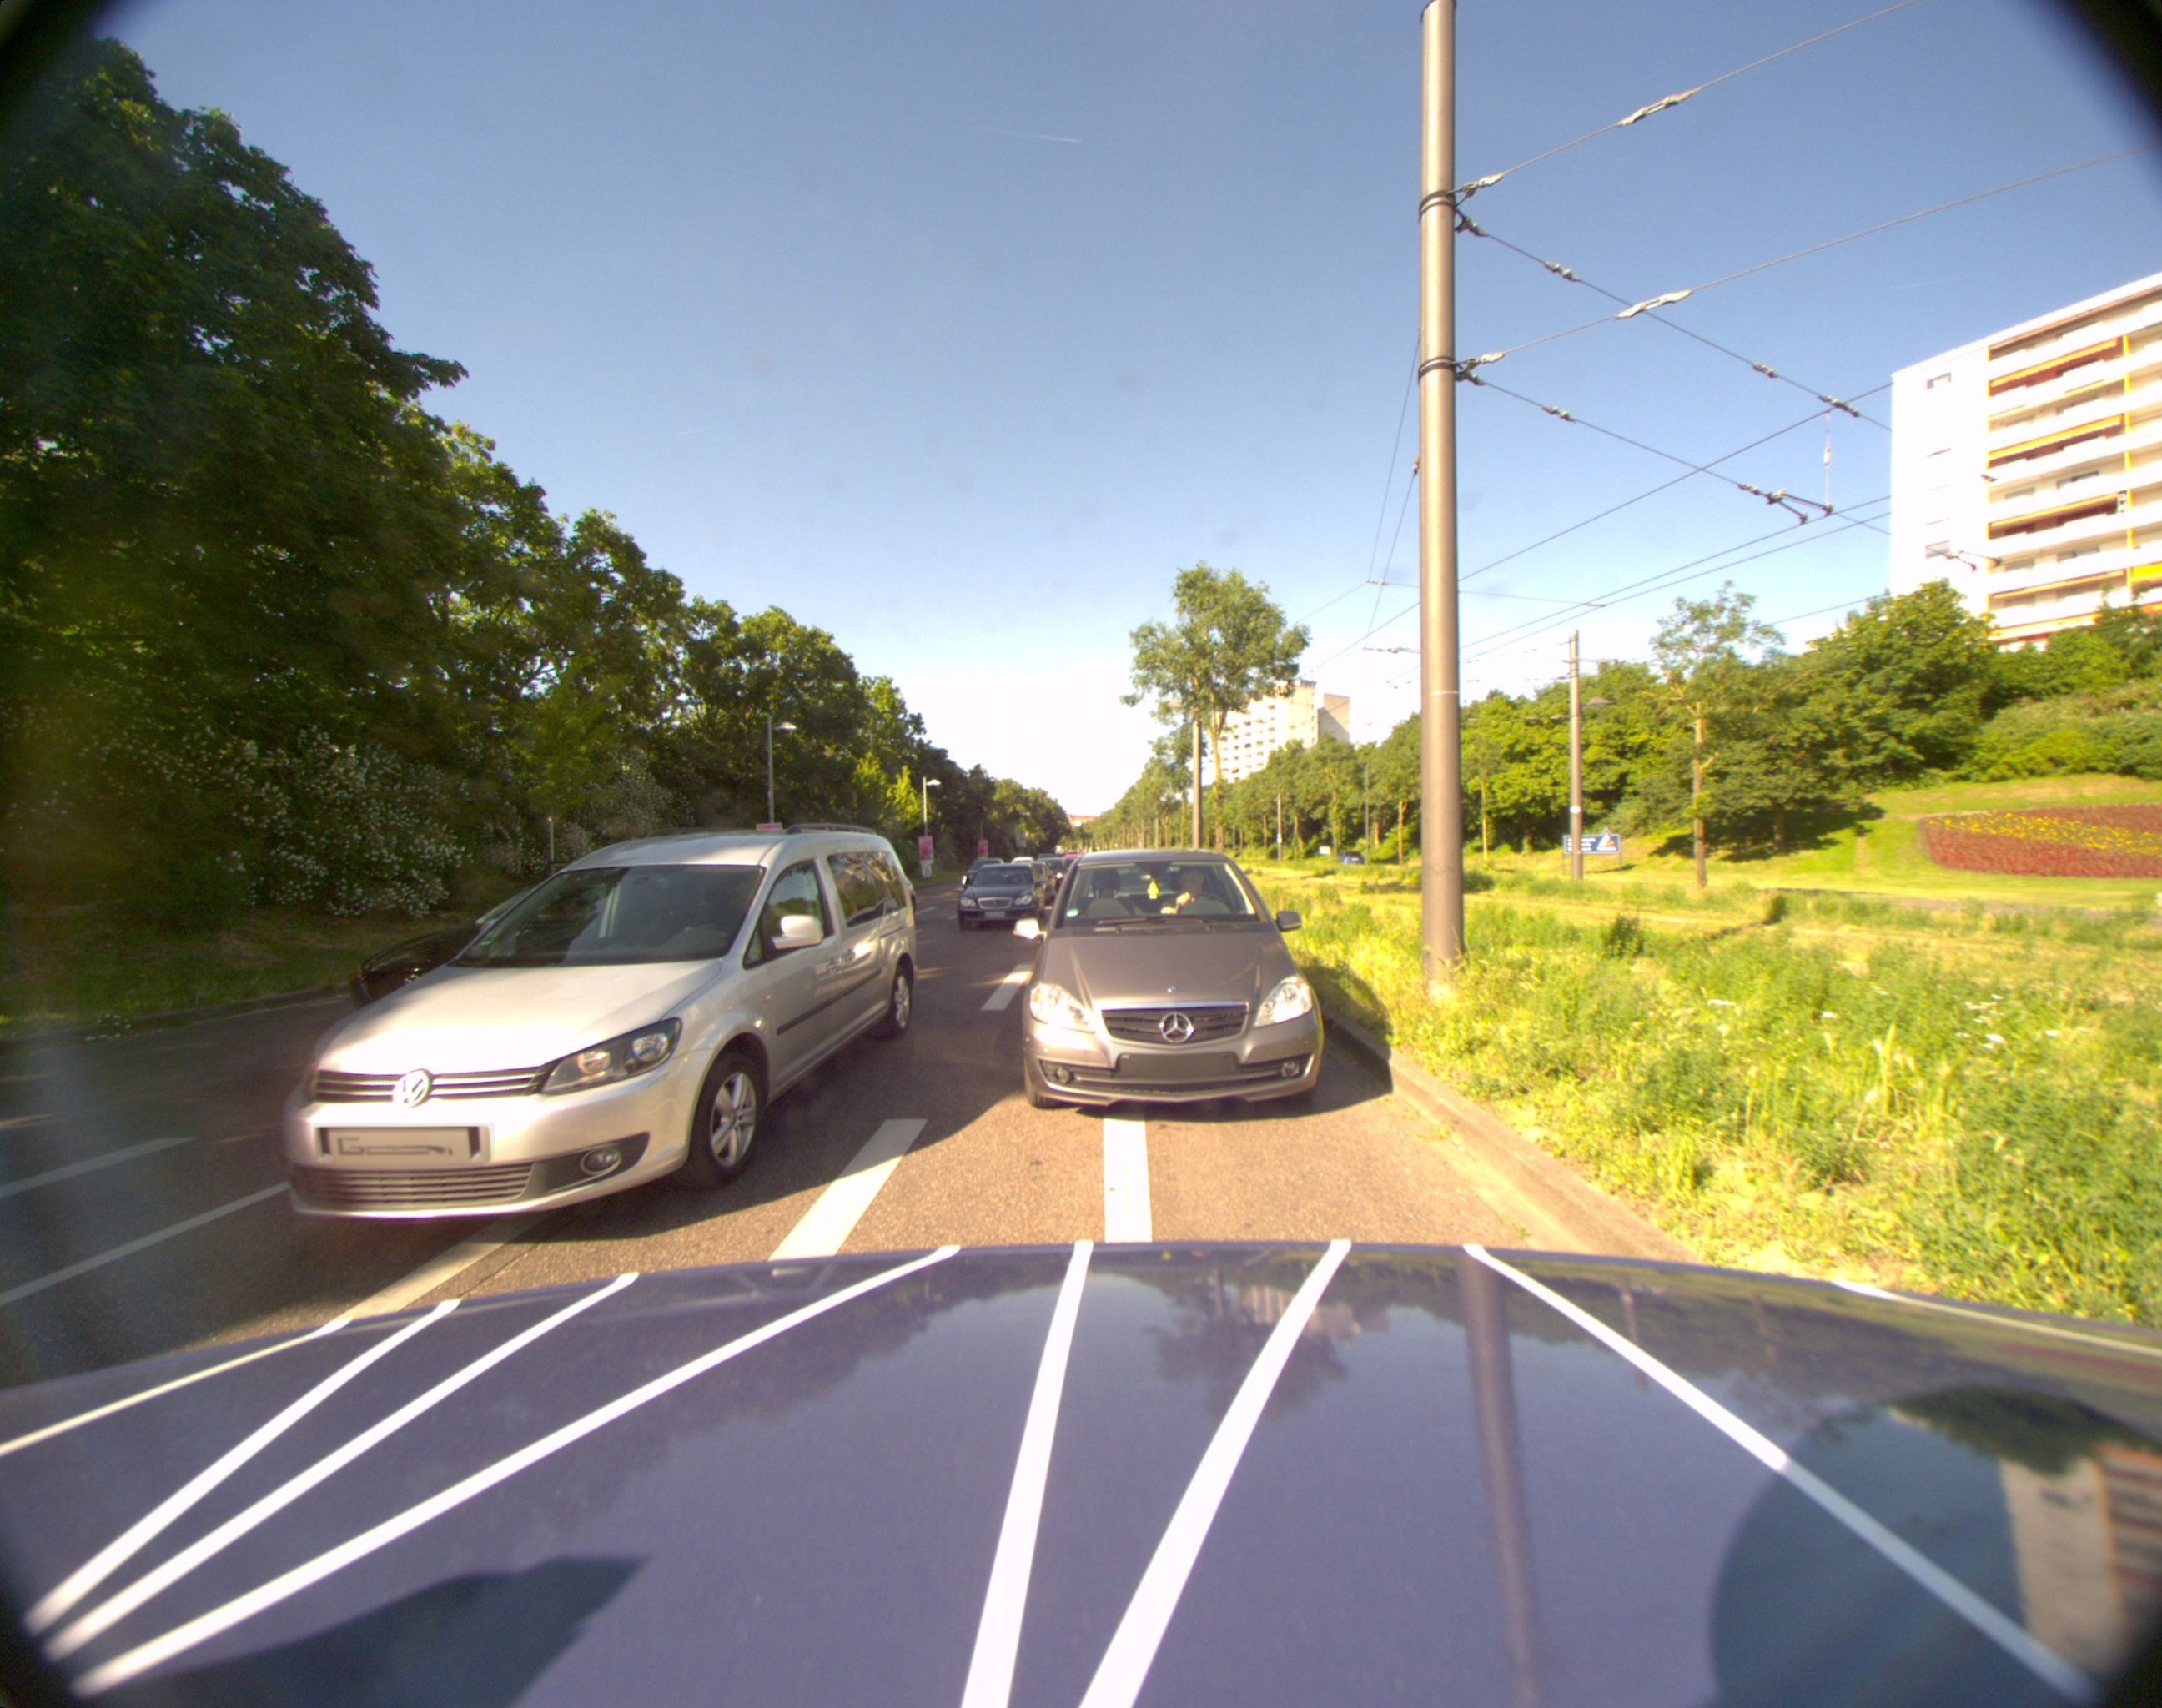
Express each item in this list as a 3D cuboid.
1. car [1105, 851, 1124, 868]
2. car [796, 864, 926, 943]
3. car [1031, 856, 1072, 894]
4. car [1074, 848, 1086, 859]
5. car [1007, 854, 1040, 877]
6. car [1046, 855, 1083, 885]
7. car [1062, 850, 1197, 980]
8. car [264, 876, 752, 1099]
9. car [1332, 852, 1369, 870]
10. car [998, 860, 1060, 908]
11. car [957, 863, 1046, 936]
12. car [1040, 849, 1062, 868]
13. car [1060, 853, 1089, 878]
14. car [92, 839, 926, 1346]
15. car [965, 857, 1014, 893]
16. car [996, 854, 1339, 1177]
[{"bbox_3d":[3.405,0.581,77.212,1.749,1.652,4.000,-1,0,1],"label":"car"},{"bbox_3d":[-4.996,1.065,17.870,1.726,1.508,4.137,-2,0,1],"label":"car"},{"bbox_3d":[-1.255,0.871,33.682,1.621,1.485,3.452,-2,1,0],"label":"car"},{"bbox_3d":[-0.162,-0.100,115.905,1.713,1.485,3.963,-2,0,1],"label":"car"},{"bbox_3d":[-3.945,0.744,52.825,1.749,1.427,4.386,-2,1,2],"label":"car"},{"bbox_3d":[-0.800,0.789,39.843,1.713,1.430,4.171,-2,0,1],"label":"car"},{"bbox_3d":[0.674,0.804,12.162,1.749,1.652,3.999,-2,1,1],"label":"car"},{"bbox_3d":[-5.338,1.097,7.979,1.772,1.499,4.225,-2,1,2],"label":"car"},{"bbox_3d":[21.435,0.539,60.523,1.578,1.412,3.909,-1,0,1],"label":"car"},{"bbox_3d":[-1.693,0.952,25.903,1.723,1.411,4.050,-1,0,1],"label":"car"},{"bbox_3d":[-1.771,0.982,18.089,1.717,1.445,4.197,-1,0,-1],"label":"car"},{"bbox_3d":[-2.700,0.418,68.434,1.749,1.652,4.000,-1,0,1],"label":"car"},{"bbox_3d":[-0.386,0.718,49.620,1.685,1.437,3.727,-2,1,2],"label":"car"},{"bbox_3d":[-2.539,0.847,5.025,1.808,1.811,4.587,-2,1,3],"label":"car"},{"bbox_3d":[-4.309,0.956,36.231,1.713,1.485,3.963,-2,0,1],"label":"car"},{"bbox_3d":[0.482,0.854,6.006,1.749,1.630,4.000,-2,0,1],"label":"car"}]
